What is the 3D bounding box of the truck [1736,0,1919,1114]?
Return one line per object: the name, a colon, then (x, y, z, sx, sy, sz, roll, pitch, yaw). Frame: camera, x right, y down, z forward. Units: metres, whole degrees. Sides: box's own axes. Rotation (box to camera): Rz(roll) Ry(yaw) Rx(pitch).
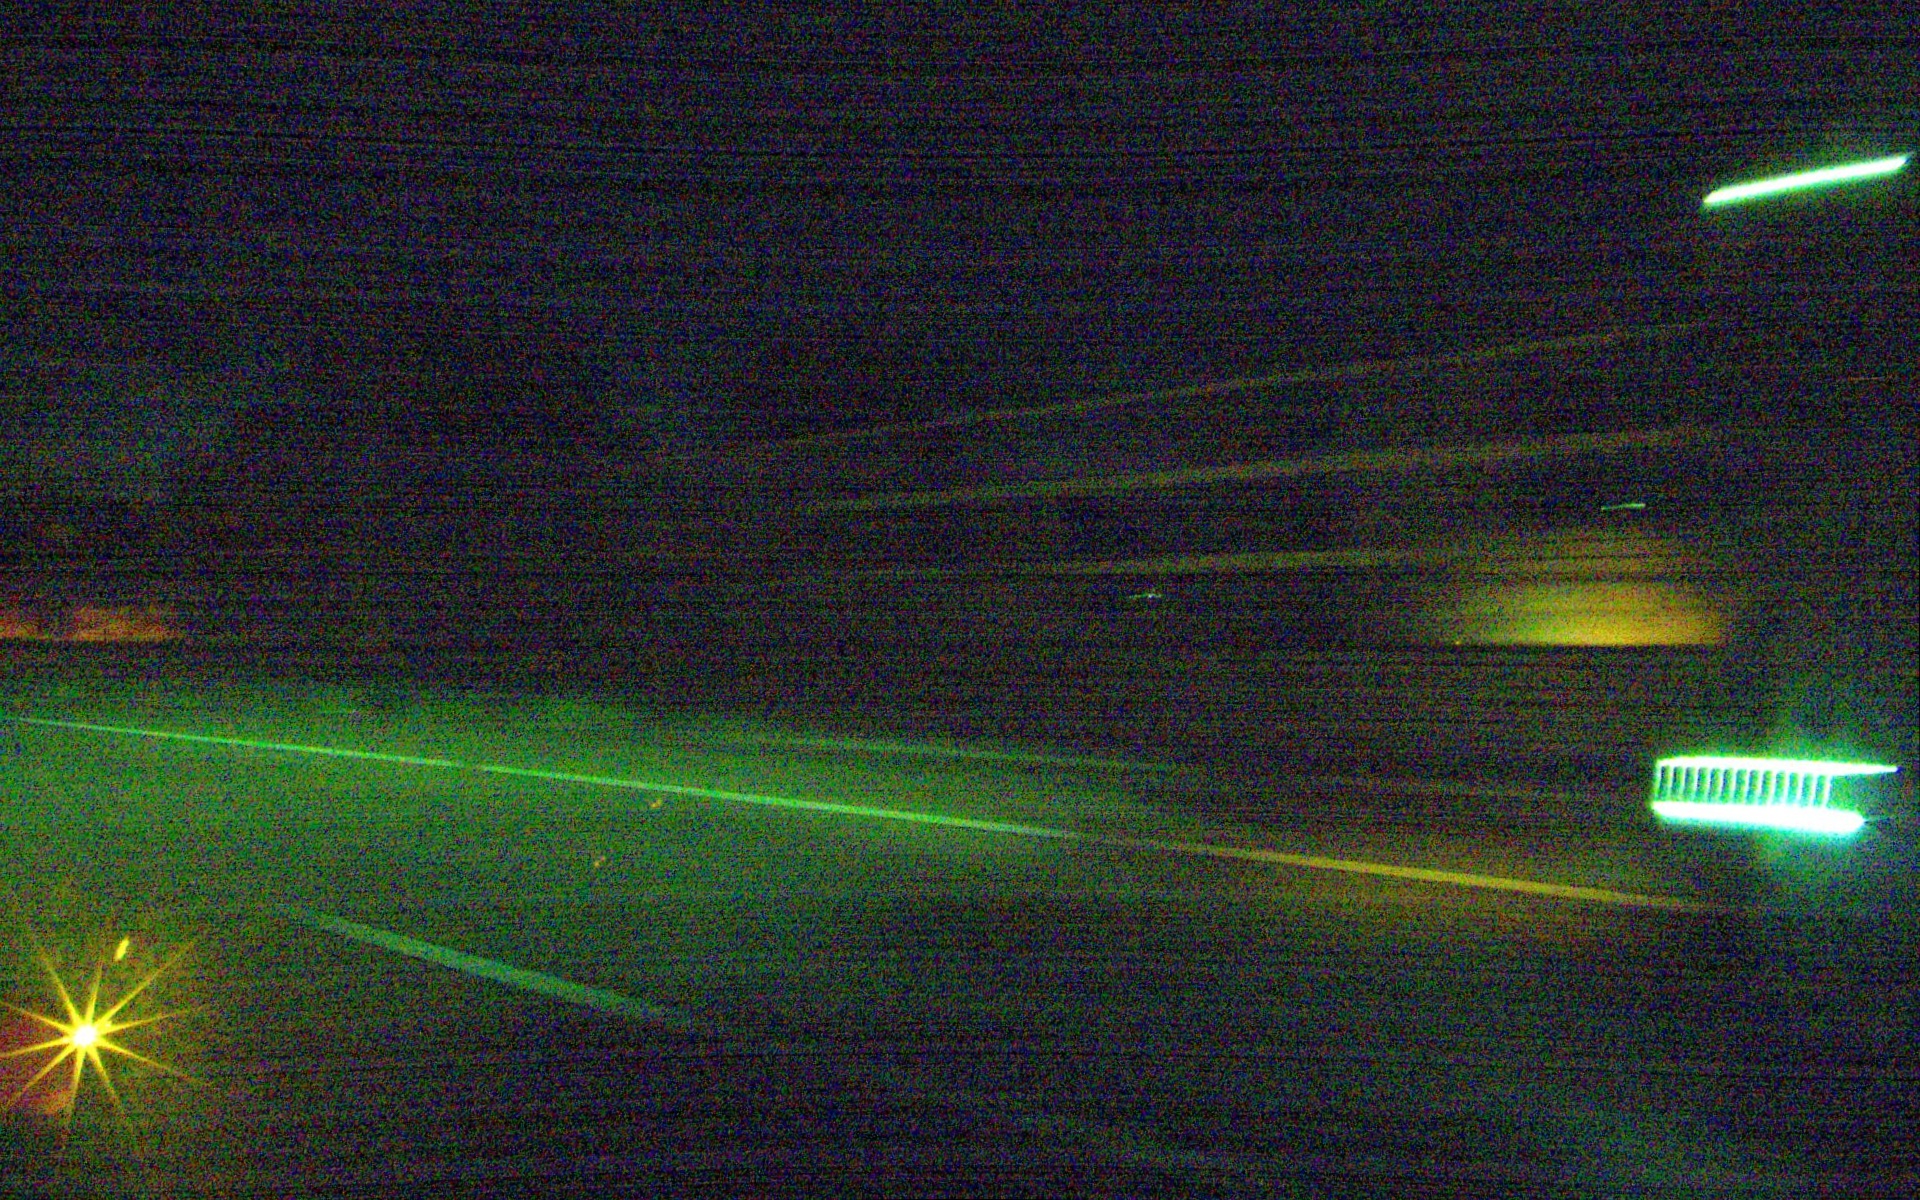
truck: (6.531, -0.602, 2.143, 7.404, 4.132, 2.855, 0, 1, 33)
